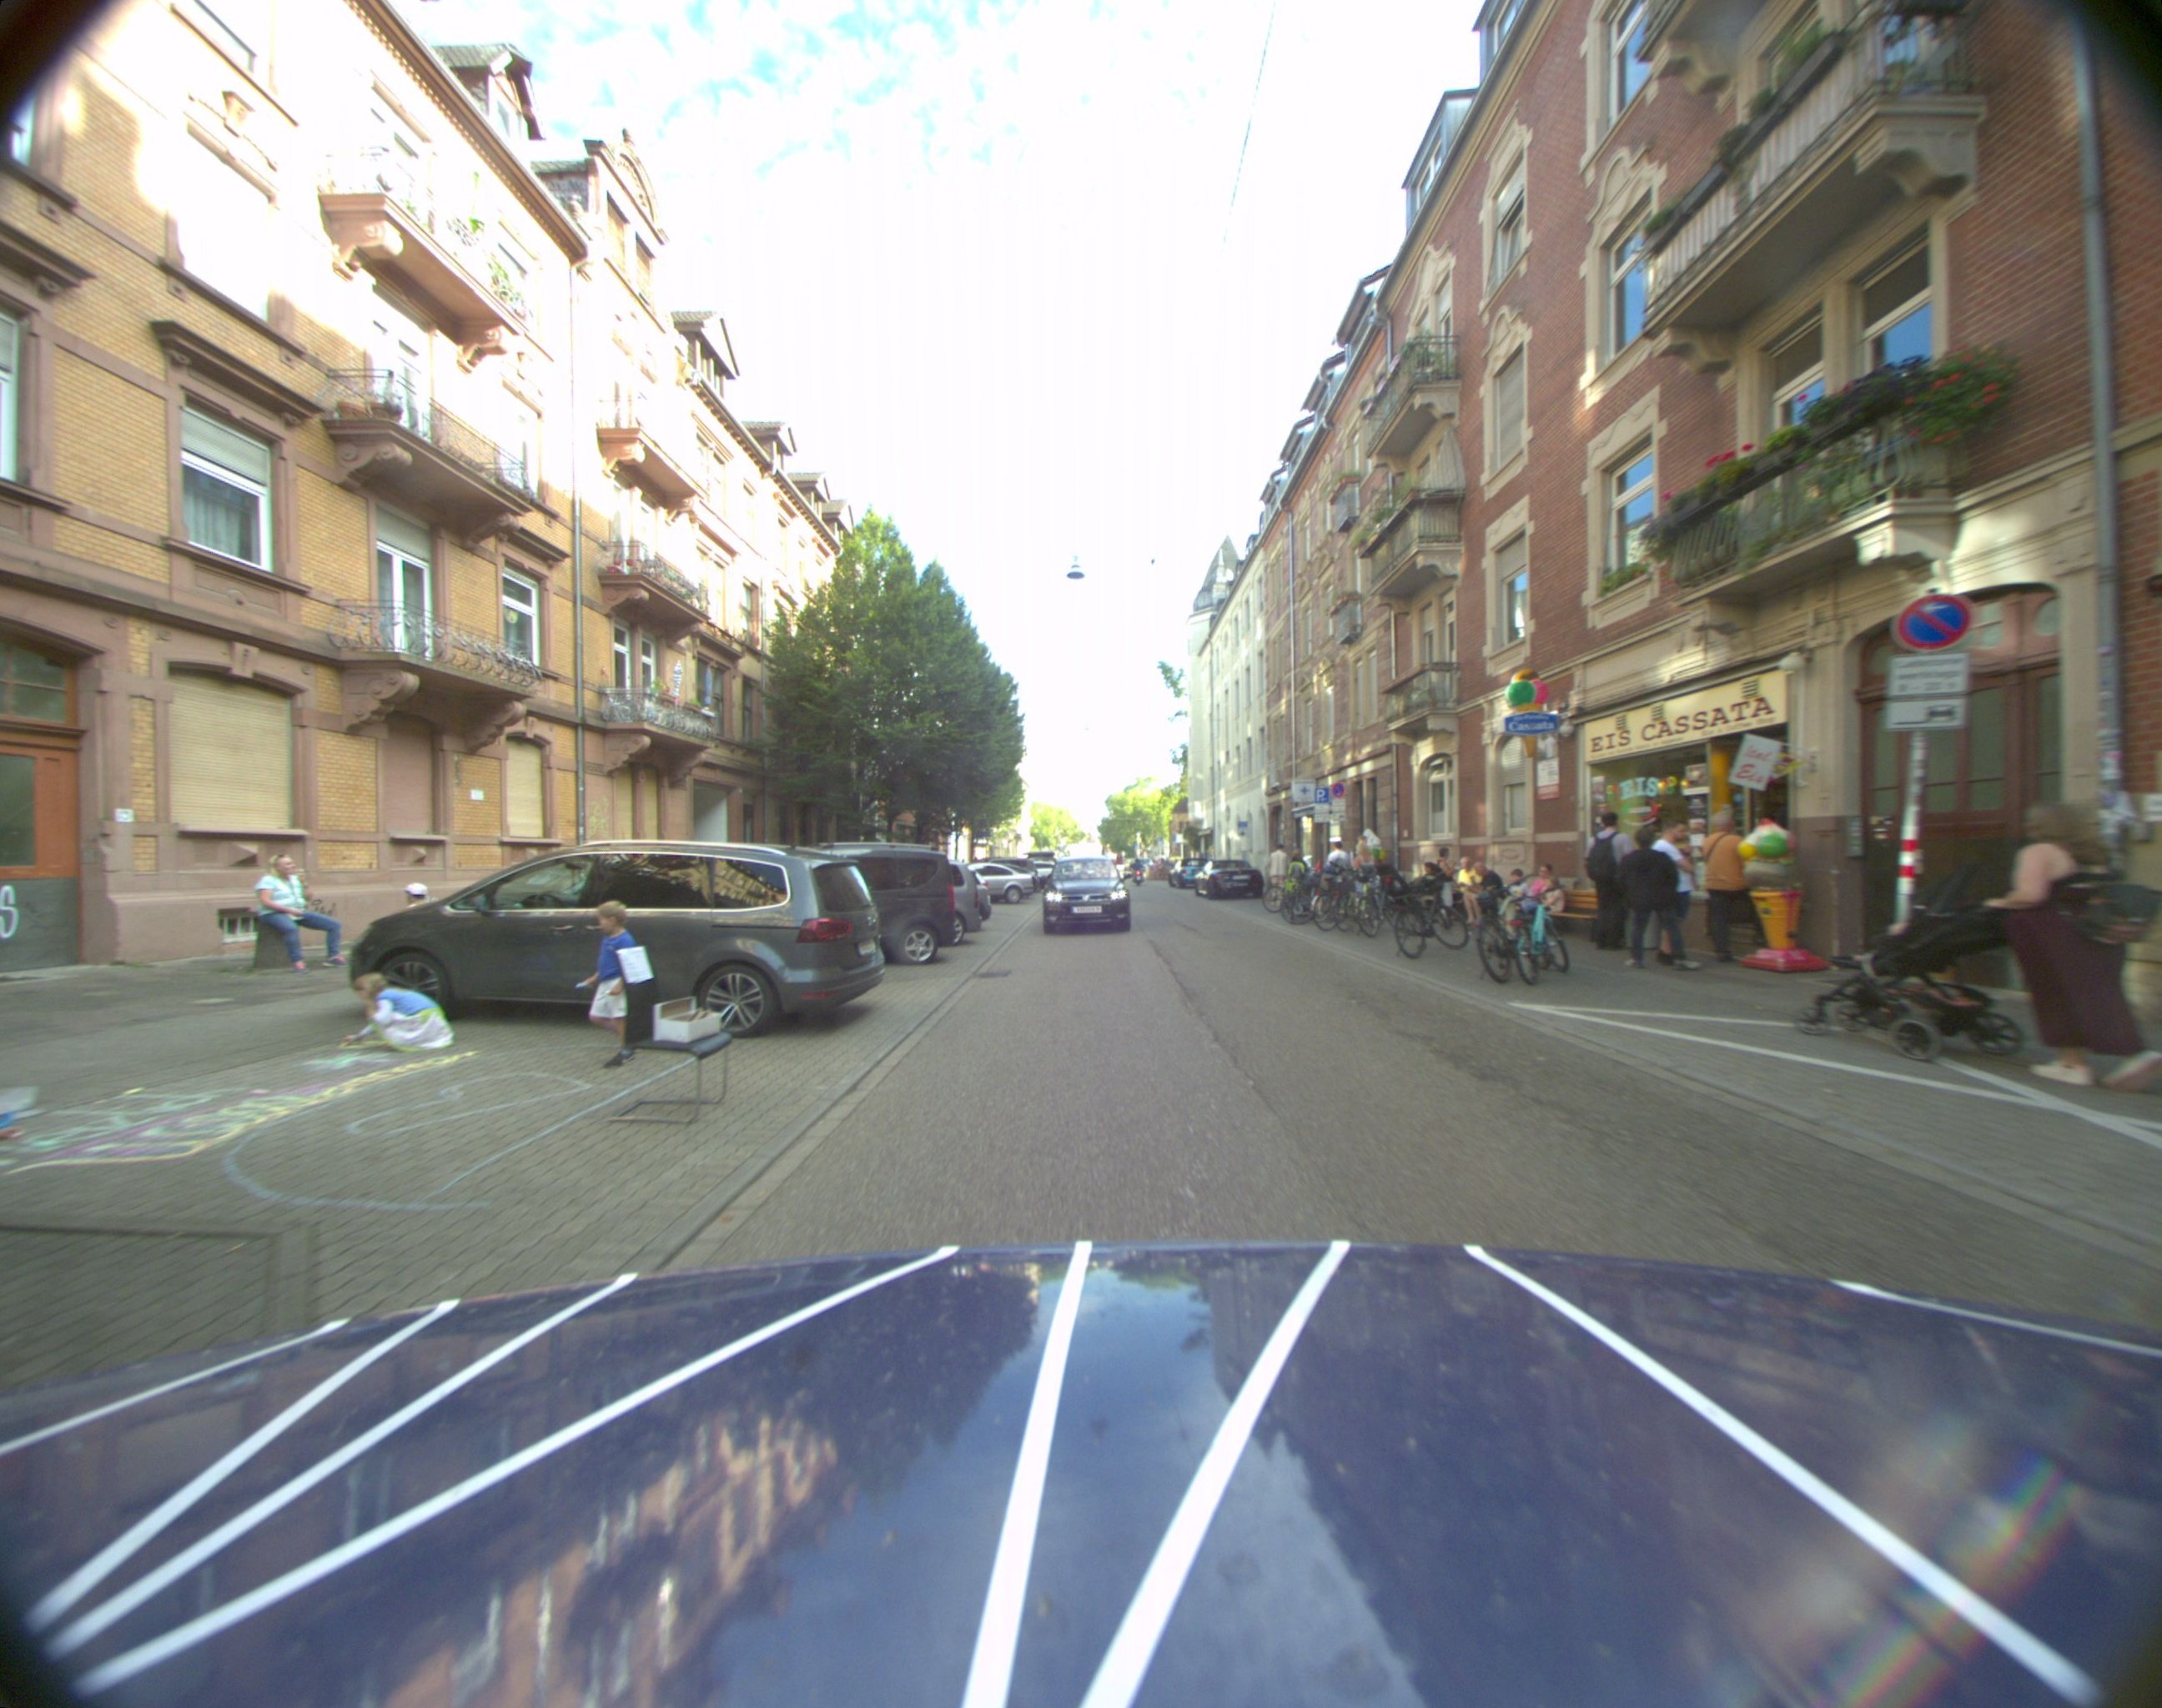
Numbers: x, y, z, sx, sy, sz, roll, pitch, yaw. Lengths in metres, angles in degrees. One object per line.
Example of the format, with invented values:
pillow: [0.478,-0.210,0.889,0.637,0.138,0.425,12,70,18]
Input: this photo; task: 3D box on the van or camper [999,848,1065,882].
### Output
van or camper: [-3.383,0.726,52.524,4.006,2.166,1.996,-2,0,-29]

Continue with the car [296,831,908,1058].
car: [-4.226,0.795,7.300,4.648,1.774,1.810,2,-2,0]

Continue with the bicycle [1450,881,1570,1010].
bicycle: [4.924,0.947,8.628,0.806,1.152,2.274,-2,0,38]

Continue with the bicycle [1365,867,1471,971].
bicycle: [4.799,0.878,10.779,1.680,1.314,0.526,-2,0,-35]

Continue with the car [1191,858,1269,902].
car: [5.264,0.867,27.545,1.816,1.343,5.115,-2,0,0]

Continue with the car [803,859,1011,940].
car: [-3.747,0.932,16.603,4.008,1.539,1.864,2,-1,-36]

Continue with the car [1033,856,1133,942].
car: [0.193,0.902,17.324,1.874,1.644,4.388,-2,0,5]

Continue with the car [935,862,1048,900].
car: [-3.578,1.049,30.766,4.145,1.409,1.864,0,-1,-34]

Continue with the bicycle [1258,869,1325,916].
bicycle: [5.284,0.960,19.103,1.577,1.110,0.375,-2,1,40]

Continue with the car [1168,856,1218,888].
car: [5.409,0.843,37.146,1.674,1.407,4.011,-2,0,-2]

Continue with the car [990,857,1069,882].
car: [-3.348,1.019,49.982,4.816,1.535,1.866,1,0,-31]

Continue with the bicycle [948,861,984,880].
bicycle: [-7.203,1.032,47.640,2.025,1.089,0.820,3,0,0]

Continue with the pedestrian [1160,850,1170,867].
pedestrian: [8.529,0.479,77.255,0.845,1.699,0.879,-2,0,1]

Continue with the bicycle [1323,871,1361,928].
bicycle: [5.569,0.950,16.256,0.579,1.084,1.740,-2,0,14]

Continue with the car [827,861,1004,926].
car: [-4.167,0.981,19.274,4.007,1.442,1.731,2,1,-31]

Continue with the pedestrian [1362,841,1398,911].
pedestrian: [7.684,0.563,19.526,0.688,1.749,0.667,-2,1,31]

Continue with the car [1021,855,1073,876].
car: [-2.944,1.026,66.383,4.006,1.663,1.923,-2,0,-31]

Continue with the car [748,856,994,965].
car: [-3.821,0.918,13.922,4.007,1.730,1.835,0,0,-30]

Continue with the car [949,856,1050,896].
car: [-3.592,0.938,33.695,4.007,1.689,1.848,0,-1,-34]

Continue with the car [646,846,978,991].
car: [-3.939,0.837,11.355,4.411,1.812,1.751,1,0,-31]

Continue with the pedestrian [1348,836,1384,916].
pedestrian: [6.817,0.515,18.147,0.646,1.881,0.602,-2,1,31]

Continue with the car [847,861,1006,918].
car: [-4.381,0.960,21.685,4.008,1.453,1.882,1,1,-35]

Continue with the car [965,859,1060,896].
car: [-3.256,1.079,36.520,4.133,1.512,1.840,-2,1,-35]

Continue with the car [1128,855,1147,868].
car: [6.367,0.803,86.016,1.911,1.412,4.000,-2,0,1]

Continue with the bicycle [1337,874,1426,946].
bicycle: [5.309,0.949,13.375,1.741,1.114,0.554,-2,0,-35]

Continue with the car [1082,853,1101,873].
car: [1.100,0.907,79.873,1.810,1.914,4.001,-3,0,2]

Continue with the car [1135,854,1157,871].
car: [6.239,0.803,73.589,1.828,1.477,4.170,-2,0,1]

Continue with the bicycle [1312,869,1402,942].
bicycle: [5.084,0.922,13.967,1.794,1.193,0.589,-2,0,-35]

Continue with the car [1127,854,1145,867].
car: [6.673,0.779,93.038,1.911,1.412,4.000,-2,0,1]

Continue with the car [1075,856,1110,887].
car: [0.716,0.976,44.304,1.810,1.622,4.001,-3,0,2]

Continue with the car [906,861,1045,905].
car: [-3.758,1.023,27.412,4.620,1.443,1.788,1,0,-31]

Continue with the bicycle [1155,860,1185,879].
bicycle: [5.837,0.988,49.948,1.872,1.168,0.688,-2,0,3]

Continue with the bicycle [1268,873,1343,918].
bicycle: [5.399,1.002,18.296,1.683,1.024,0.410,-2,1,21]

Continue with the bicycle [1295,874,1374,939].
bicycle: [4.879,0.978,14.587,1.573,1.114,0.589,-2,0,-35]
